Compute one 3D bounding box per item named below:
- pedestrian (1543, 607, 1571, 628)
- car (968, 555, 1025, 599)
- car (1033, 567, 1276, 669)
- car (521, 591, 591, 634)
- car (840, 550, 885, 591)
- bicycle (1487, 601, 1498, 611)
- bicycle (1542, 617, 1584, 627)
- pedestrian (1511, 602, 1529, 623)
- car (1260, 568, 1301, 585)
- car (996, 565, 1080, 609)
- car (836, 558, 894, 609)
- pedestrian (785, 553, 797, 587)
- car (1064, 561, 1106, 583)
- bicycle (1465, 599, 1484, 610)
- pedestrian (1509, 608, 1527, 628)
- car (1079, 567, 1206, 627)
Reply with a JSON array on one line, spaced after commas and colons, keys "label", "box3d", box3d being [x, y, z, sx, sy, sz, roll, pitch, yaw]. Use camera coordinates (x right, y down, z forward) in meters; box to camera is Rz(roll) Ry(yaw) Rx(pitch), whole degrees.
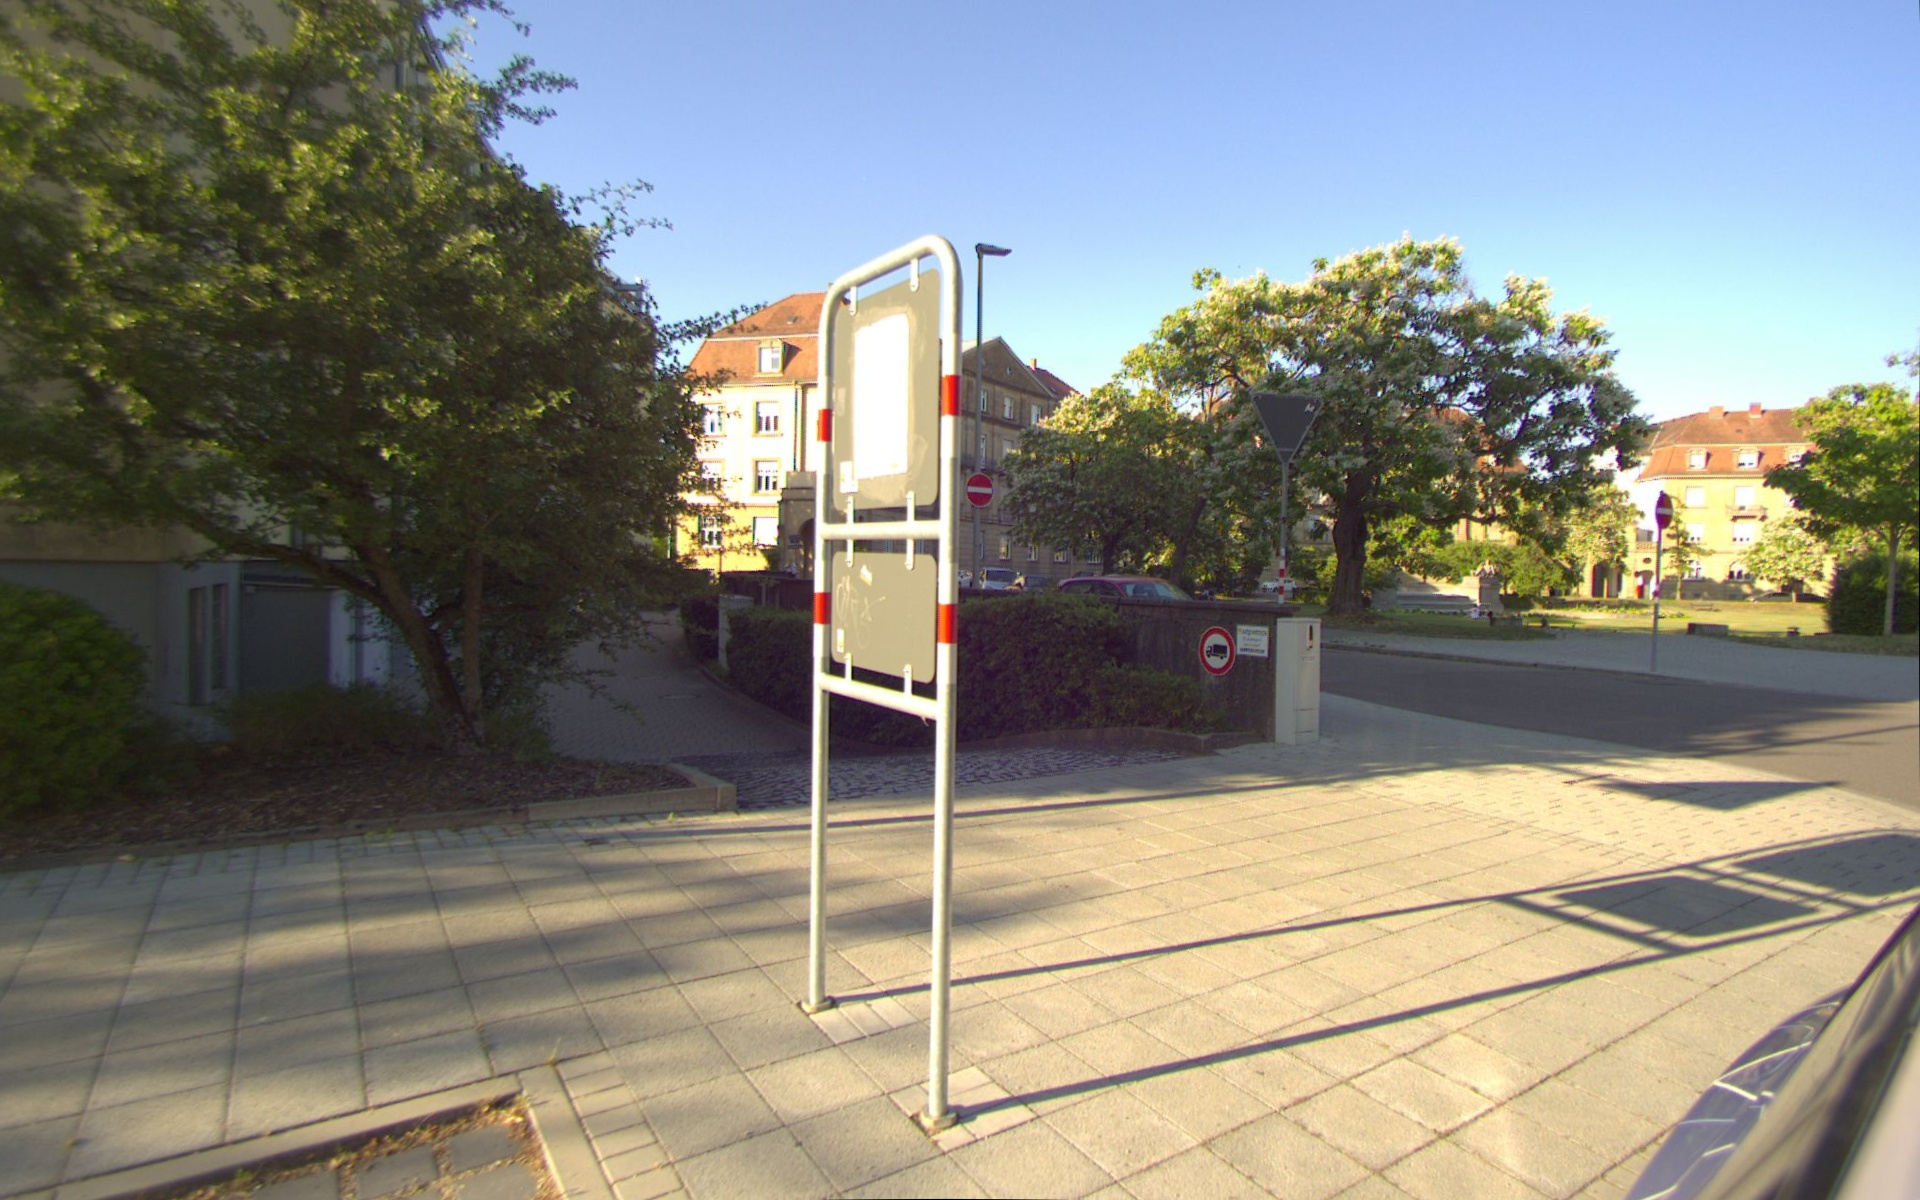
[{"label": "pedestrian", "box3d": [23.338, 0.690, 39.577, 0.796, 0.774, 0.498, 2, 1, 5]}, {"label": "car", "box3d": [1.428, -0.907, 41.247, 1.691, 1.648, 3.710, 2, 0, -7]}, {"label": "car", "box3d": [3.076, 0.198, 16.849, 1.754, 1.437, 4.052, -2, 2, -30]}, {"label": "car", "box3d": [-13.144, 0.379, 33.089, 1.608, 1.296, 3.379, 0, 1, -12]}, {"label": "car", "box3d": [-4.545, -1.377, 47.562, 1.675, 1.818, 4.046, 1, 1, 1]}, {"label": "bicycle", "box3d": [31.453, 0.337, 59.754, 0.481, 0.590, 0.436, 1, 1, 17]}, {"label": "bicycle", "box3d": [24.759, 0.900, 41.537, 1.894, 0.387, 0.660, 0, 2, -32]}, {"label": "pedestrian", "box3d": [23.177, 0.524, 41.879, 0.489, 0.845, 0.455, 1, 1, -1]}, {"label": "car", "box3d": [31.508, -2.317, 99.380, 3.628, 1.517, 1.729, 2, 0, -27]}, {"label": "car", "box3d": [2.536, -0.439, 33.847, 1.690, 1.313, 3.712, 2, 1, -14]}, {"label": "car", "box3d": [-3.231, -0.599, 33.861, 1.672, 1.596, 4.054, -1, 2, -8]}, {"label": "pedestrian", "box3d": [-8.013, -1.417, 48.064, 0.496, 1.612, 0.527, 1, 0, -5]}, {"label": "car", "box3d": [9.726, -2.153, 78.585, 1.714, 1.517, 3.660, 2, 0, 33]}, {"label": "bicycle", "box3d": [30.513, 0.273, 60.036, 0.893, 0.660, 0.436, 1, 1, 18]}, {"label": "pedestrian", "box3d": [21.947, 0.696, 39.803, 0.446, 0.756, 0.498, 0, 1, -38]}, {"label": "car", "box3d": [4.830, -0.115, 27.349, 1.690, 1.445, 4.009, 2, 1, -17]}]
